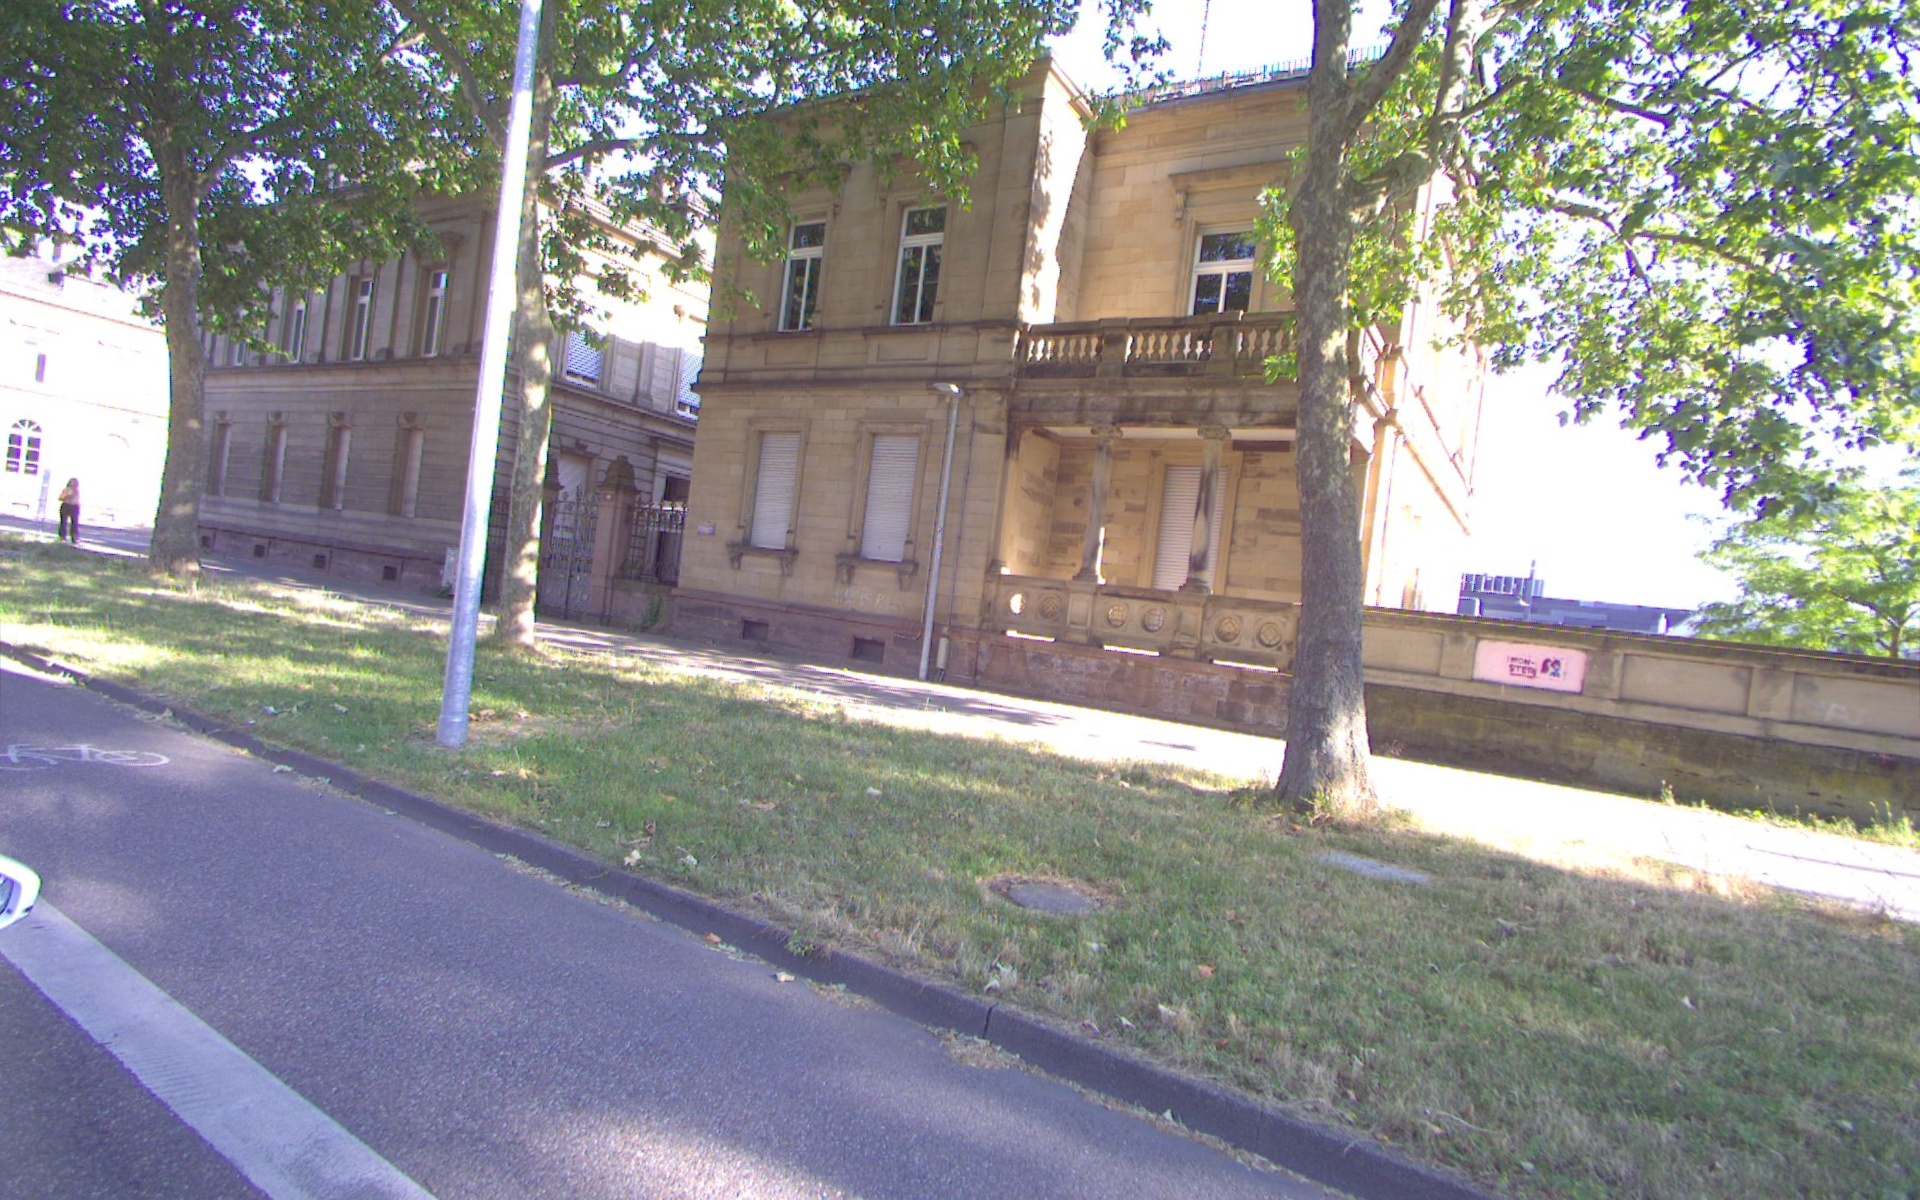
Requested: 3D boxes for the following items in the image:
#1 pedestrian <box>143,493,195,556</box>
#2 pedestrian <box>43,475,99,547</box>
[{"bbox_3d":[-22.243,-2.114,28.299,0.970,1.626,0.770,7,1,34],"label":"pedestrian"},{"bbox_3d":[-23.471,-2.345,26.566,1.025,1.731,0.770,7,1,34],"label":"pedestrian"}]
